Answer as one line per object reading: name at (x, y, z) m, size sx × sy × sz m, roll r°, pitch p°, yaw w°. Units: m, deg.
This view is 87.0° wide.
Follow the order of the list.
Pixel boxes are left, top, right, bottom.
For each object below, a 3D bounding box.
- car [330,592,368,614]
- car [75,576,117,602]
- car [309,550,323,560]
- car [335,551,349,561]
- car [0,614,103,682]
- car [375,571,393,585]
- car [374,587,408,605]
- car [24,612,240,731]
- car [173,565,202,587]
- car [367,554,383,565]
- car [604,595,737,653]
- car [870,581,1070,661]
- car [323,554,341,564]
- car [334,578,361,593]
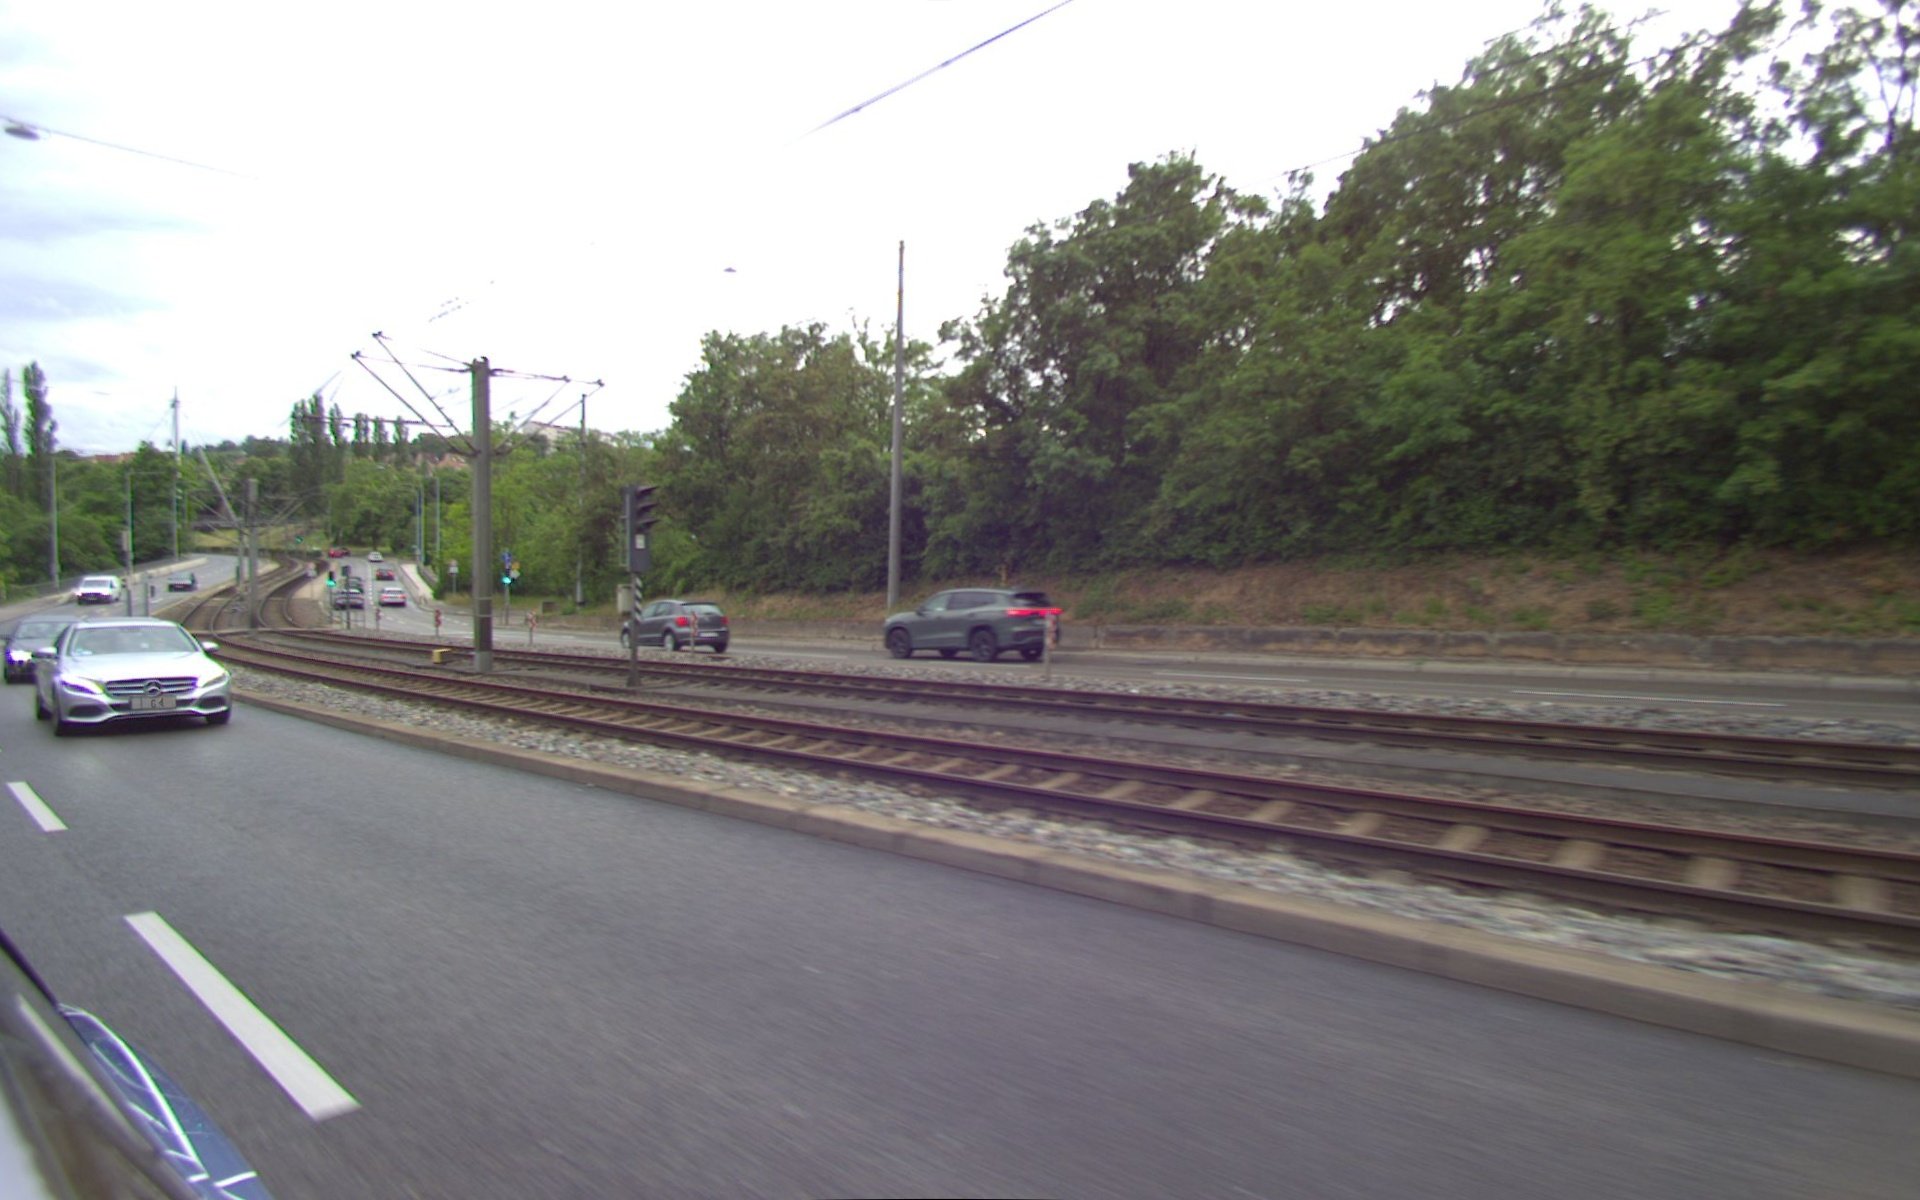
car at (-45.518, 0.207, 75.343) m, size 1.837 × 1.449 × 4.866 m, roll -2°, pitch 3°, yaw -38°
car at (-63.446, -0.783, 74.366) m, size 1.739 × 1.830 × 4.011 m, roll -2°, pitch 1°, yaw -32°
car at (-115.572, -8.069, 181.611) m, size 1.708 × 1.447 × 4.502 m, roll 0°, pitch 5°, yaw -39°
car at (-111.026, -7.968, 181.854) m, size 1.942 × 1.609 × 5.200 m, roll 0°, pitch 3°, yaw -33°
car at (-20.998, 1.037, 23.140) m, size 4.001 × 1.362 × 1.712 m, roll -1°, pitch 1°, yaw 44°
car at (-64.717, -2.472, 113.605) m, size 1.692 × 1.469 × 4.289 m, roll 0°, pitch 3°, yaw -31°
car at (-45.473, -0.272, 80.819) m, size 1.795 × 1.390 × 4.716 m, roll 0°, pitch 0°, yaw -36°
car at (-11.490, 0.872, 13.944) m, size 4.061 × 1.366 × 1.846 m, roll -1°, pitch 0°, yaw 44°
car at (-67.688, -2.087, 88.667) m, size 1.740 × 1.830 × 4.011 m, roll -2°, pitch 1°, yaw -34°
car at (-91.338, -6.362, 157.984) m, size 1.797 × 1.526 × 4.542 m, roll -1°, pitch 5°, yaw -35°
car at (-7.960, 0.617, 27.616) m, size 4.033 × 1.425 × 1.687 m, roll -1°, pitch 1°, yaw 44°
car at (0.130, 0.448, 23.549) m, size 4.741 × 1.682 × 1.764 m, roll -1°, pitch 0°, yaw 45°
car at (-105.903, -6.950, 170.603) m, size 1.825 × 1.609 × 4.740 m, roll 0°, pitch 3°, yaw -41°
car at (-56.299, -1.317, 92.971) m, size 1.612 × 1.395 × 3.901 m, roll 1°, pitch 0°, yaw -39°
